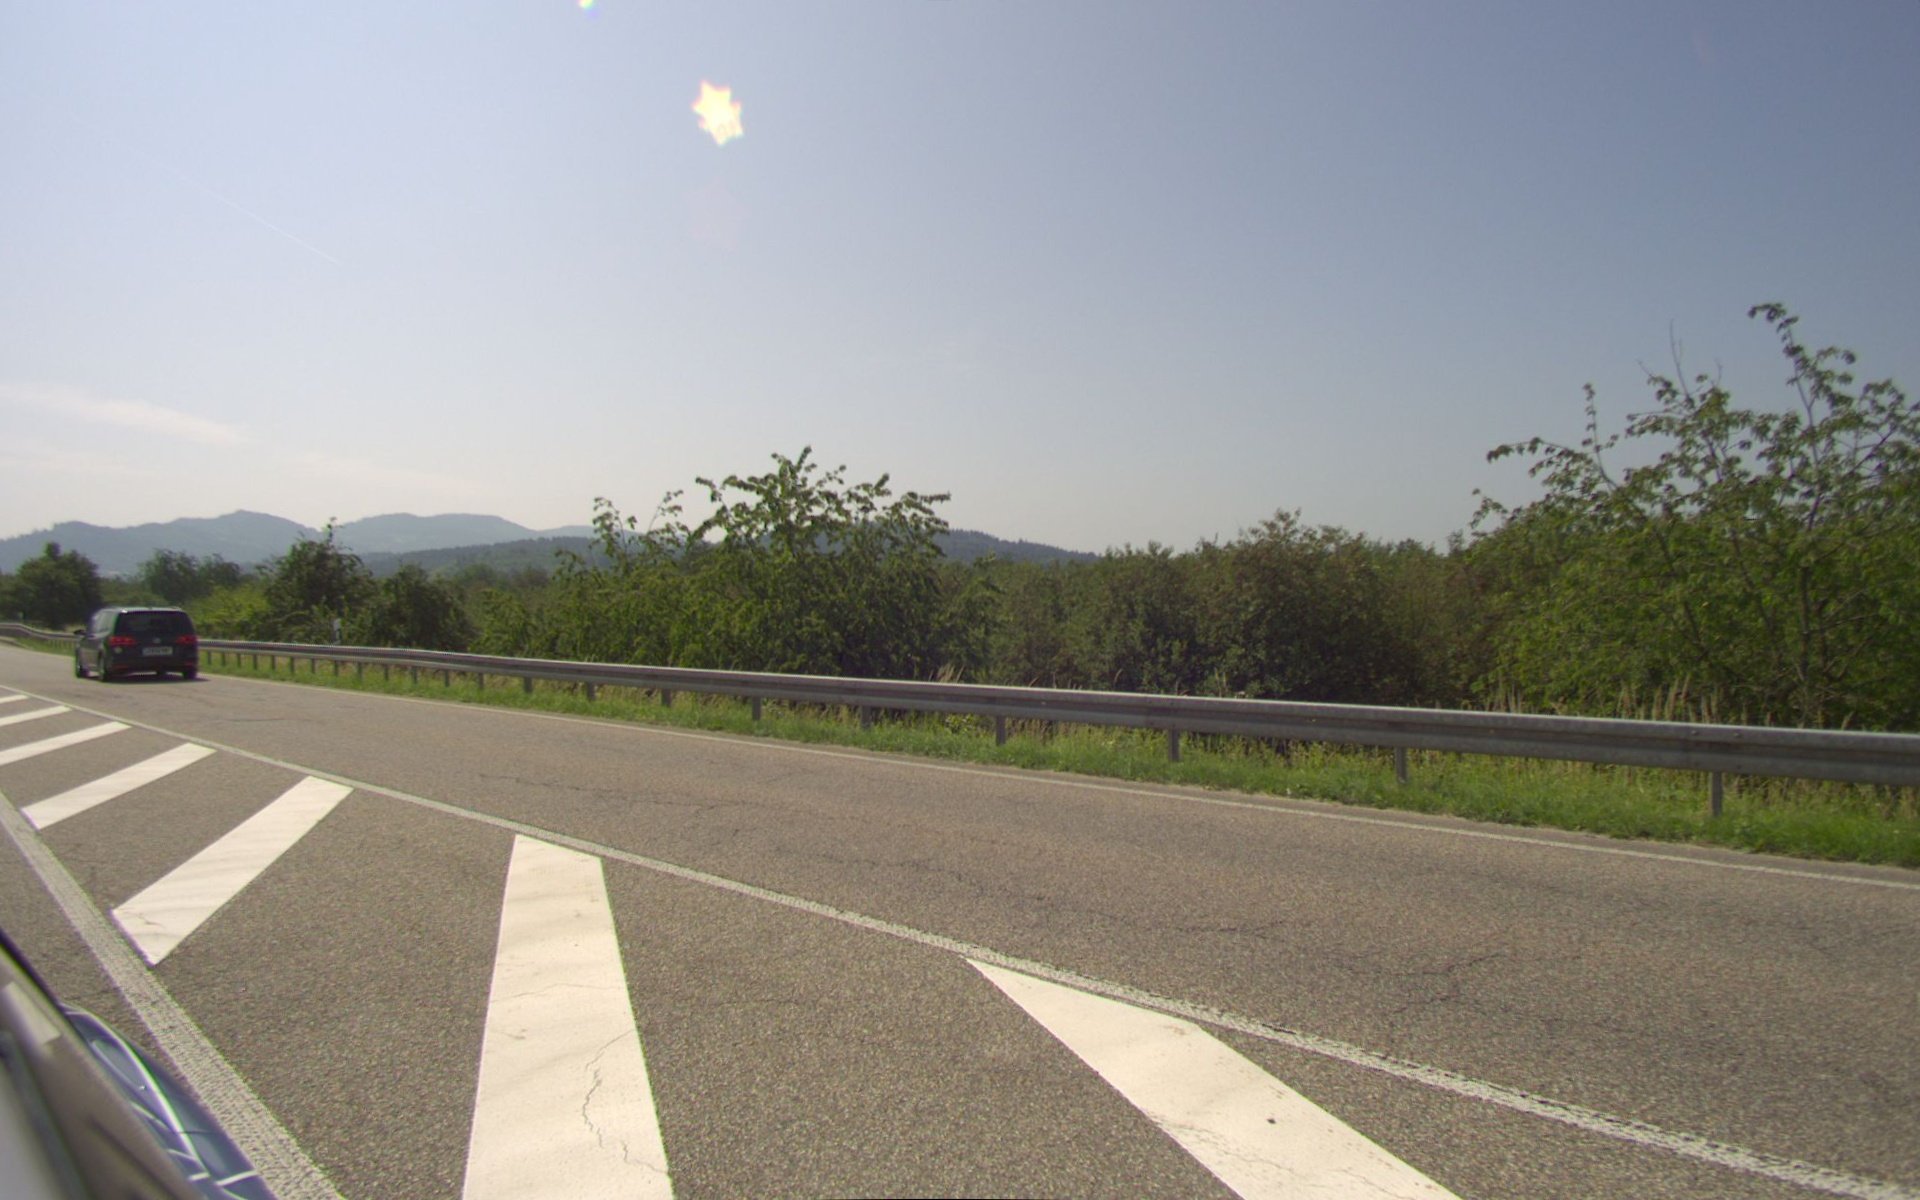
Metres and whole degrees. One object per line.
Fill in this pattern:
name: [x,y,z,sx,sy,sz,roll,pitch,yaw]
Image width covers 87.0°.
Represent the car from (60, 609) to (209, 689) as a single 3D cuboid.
car: [-19.206,1.060,23.460,4.805,1.650,1.786,-1,0,40]
